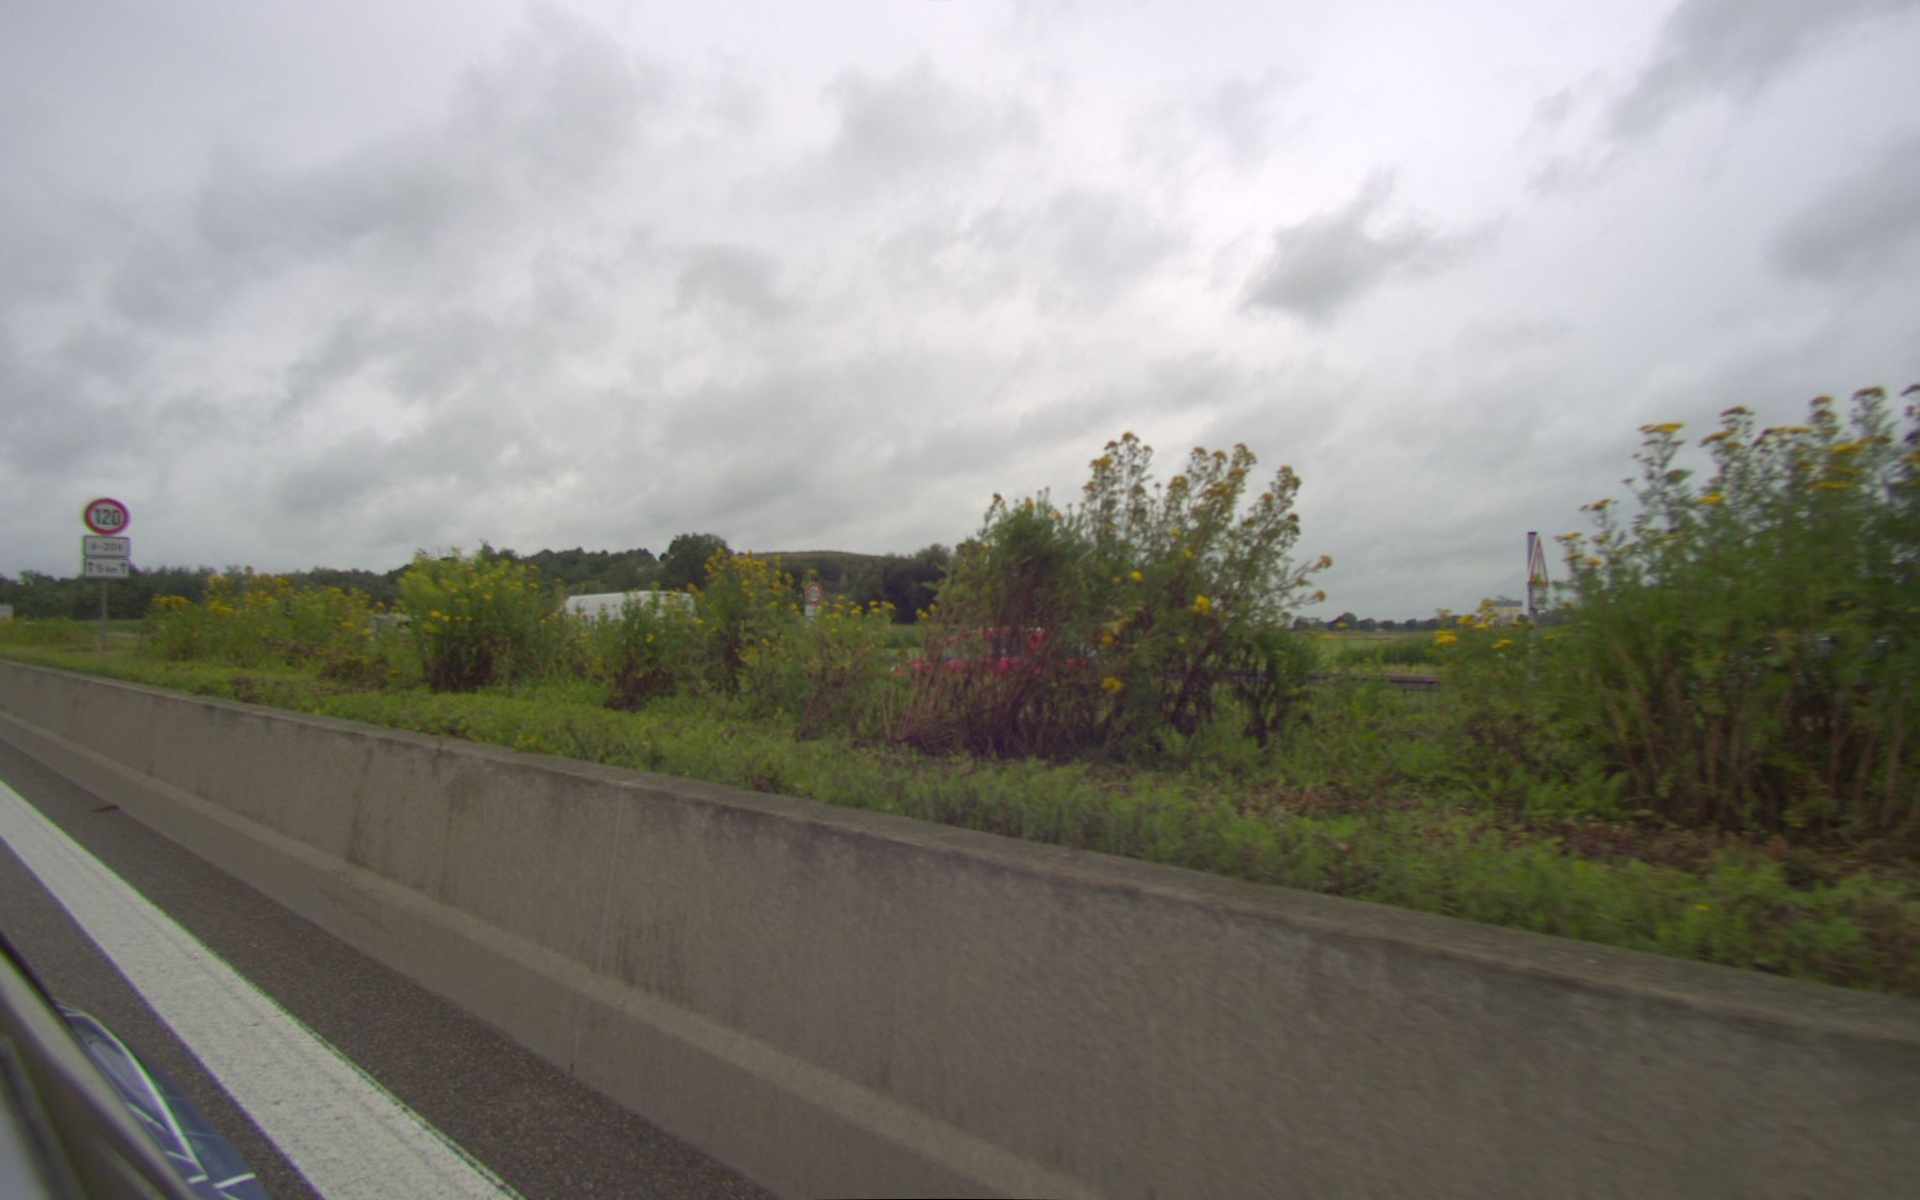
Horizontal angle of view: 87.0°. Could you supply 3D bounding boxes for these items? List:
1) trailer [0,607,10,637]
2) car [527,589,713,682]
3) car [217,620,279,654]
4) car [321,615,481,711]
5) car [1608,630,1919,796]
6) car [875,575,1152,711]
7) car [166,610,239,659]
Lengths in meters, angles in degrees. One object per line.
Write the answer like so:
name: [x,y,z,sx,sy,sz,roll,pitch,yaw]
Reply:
trailer: [-118.744,2.666,123.294,13.230,3.454,2.885,-1,0,40]
car: [-10.603,1.012,31.168,6.902,2.549,2.222,-1,0,41]
car: [-38.239,1.987,54.316,3.858,1.788,1.781,-1,-3,41]
car: [-12.089,1.287,21.791,3.897,1.852,1.801,-1,-1,41]
car: [10.286,1.251,12.126,3.998,1.719,1.973,-1,-1,41]
car: [0.745,0.613,15.729,3.998,1.834,1.840,-1,-1,41]
car: [-33.797,1.514,45.136,3.998,2.029,1.799,-1,-1,41]
